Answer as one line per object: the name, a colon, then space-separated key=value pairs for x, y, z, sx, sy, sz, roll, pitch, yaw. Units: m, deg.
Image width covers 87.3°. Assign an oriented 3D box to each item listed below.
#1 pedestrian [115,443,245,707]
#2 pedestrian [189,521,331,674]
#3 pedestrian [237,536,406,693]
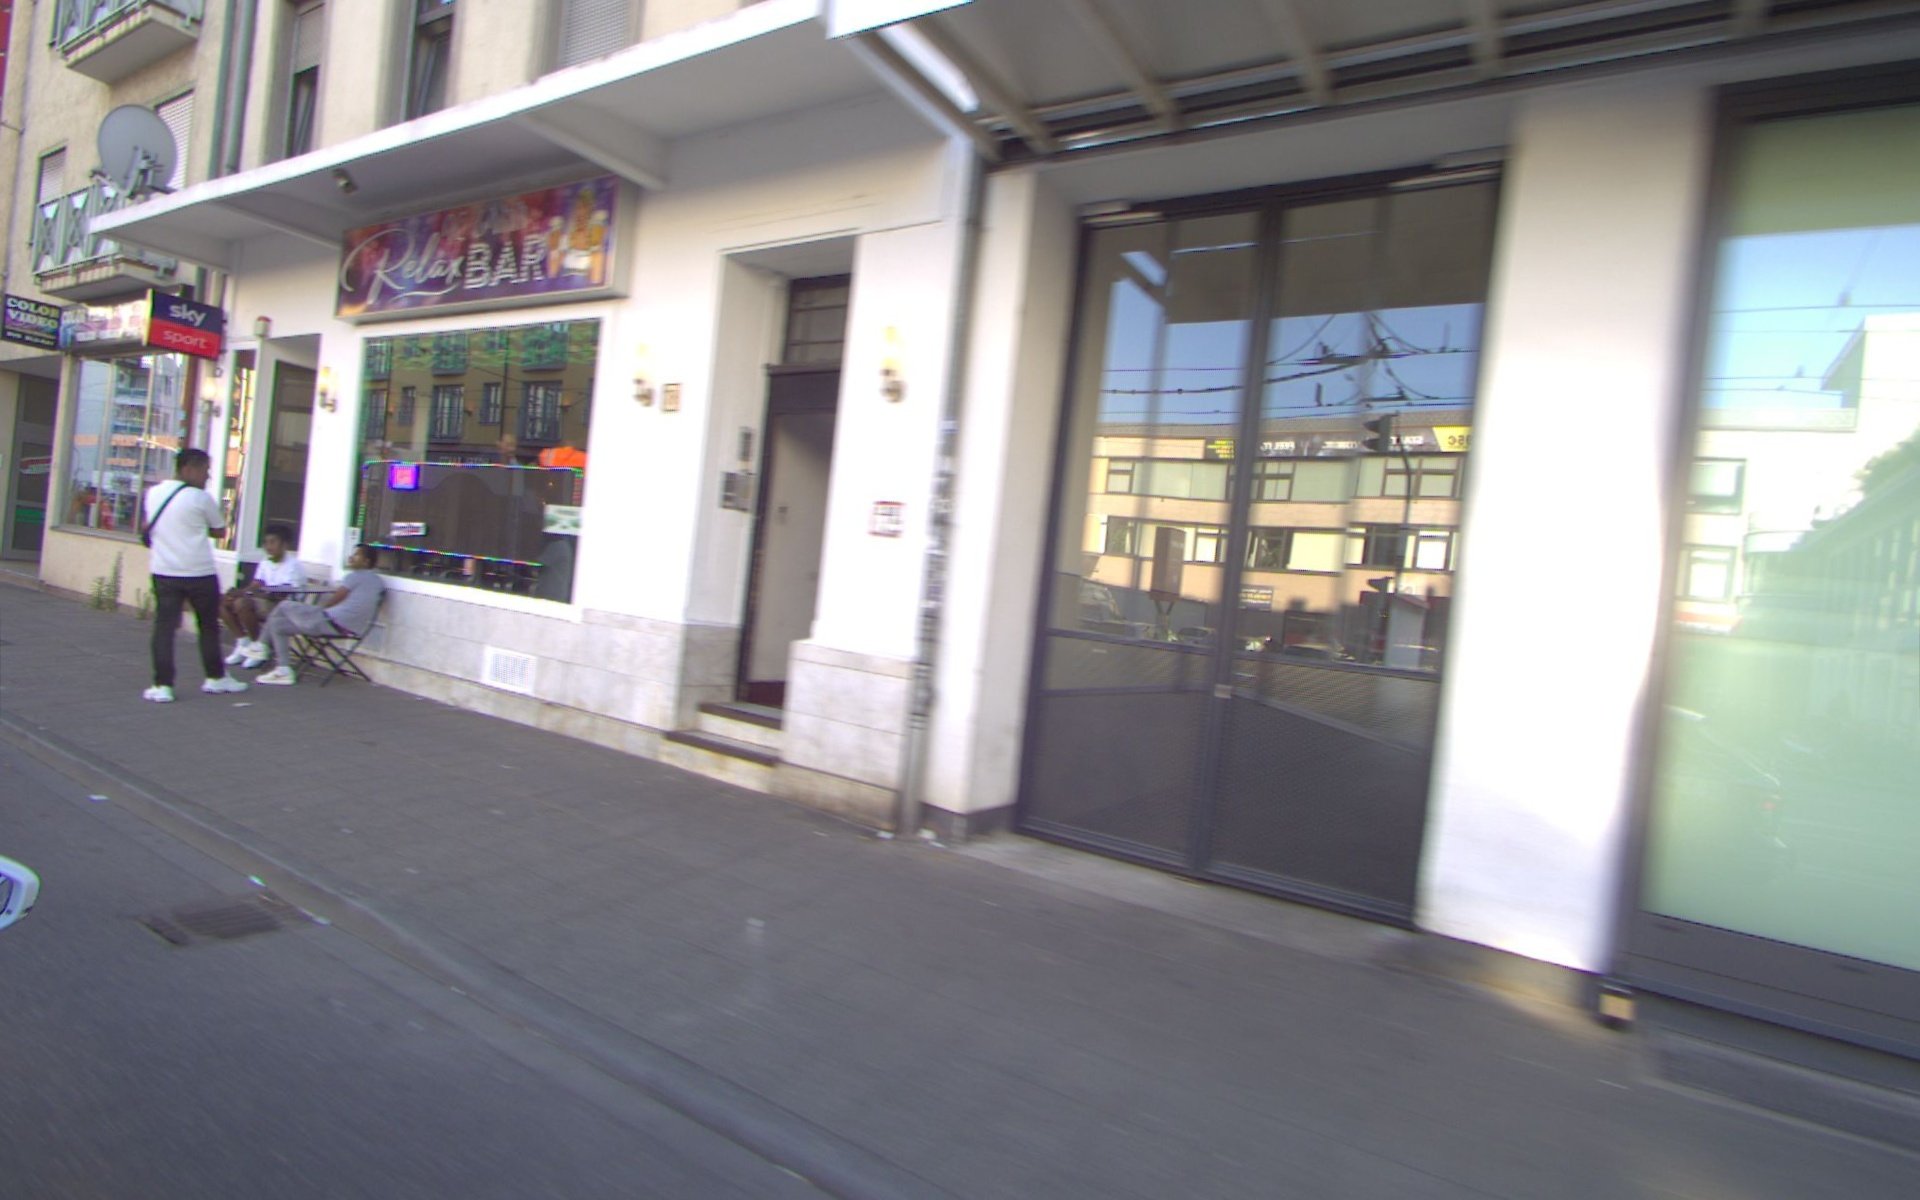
pedestrian: x=-5.787 y=-0.195 z=7.470 sx=0.700 sy=1.839 sz=0.671 roll=-1 pitch=8 yaw=-41
pedestrian: x=-6.249 y=-0.045 z=9.035 sx=0.694 sy=1.274 sz=0.828 roll=3 pitch=5 yaw=-2
pedestrian: x=-5.353 y=0.093 z=8.463 sx=0.997 sy=1.192 sz=0.705 roll=5 pitch=6 yaw=14
